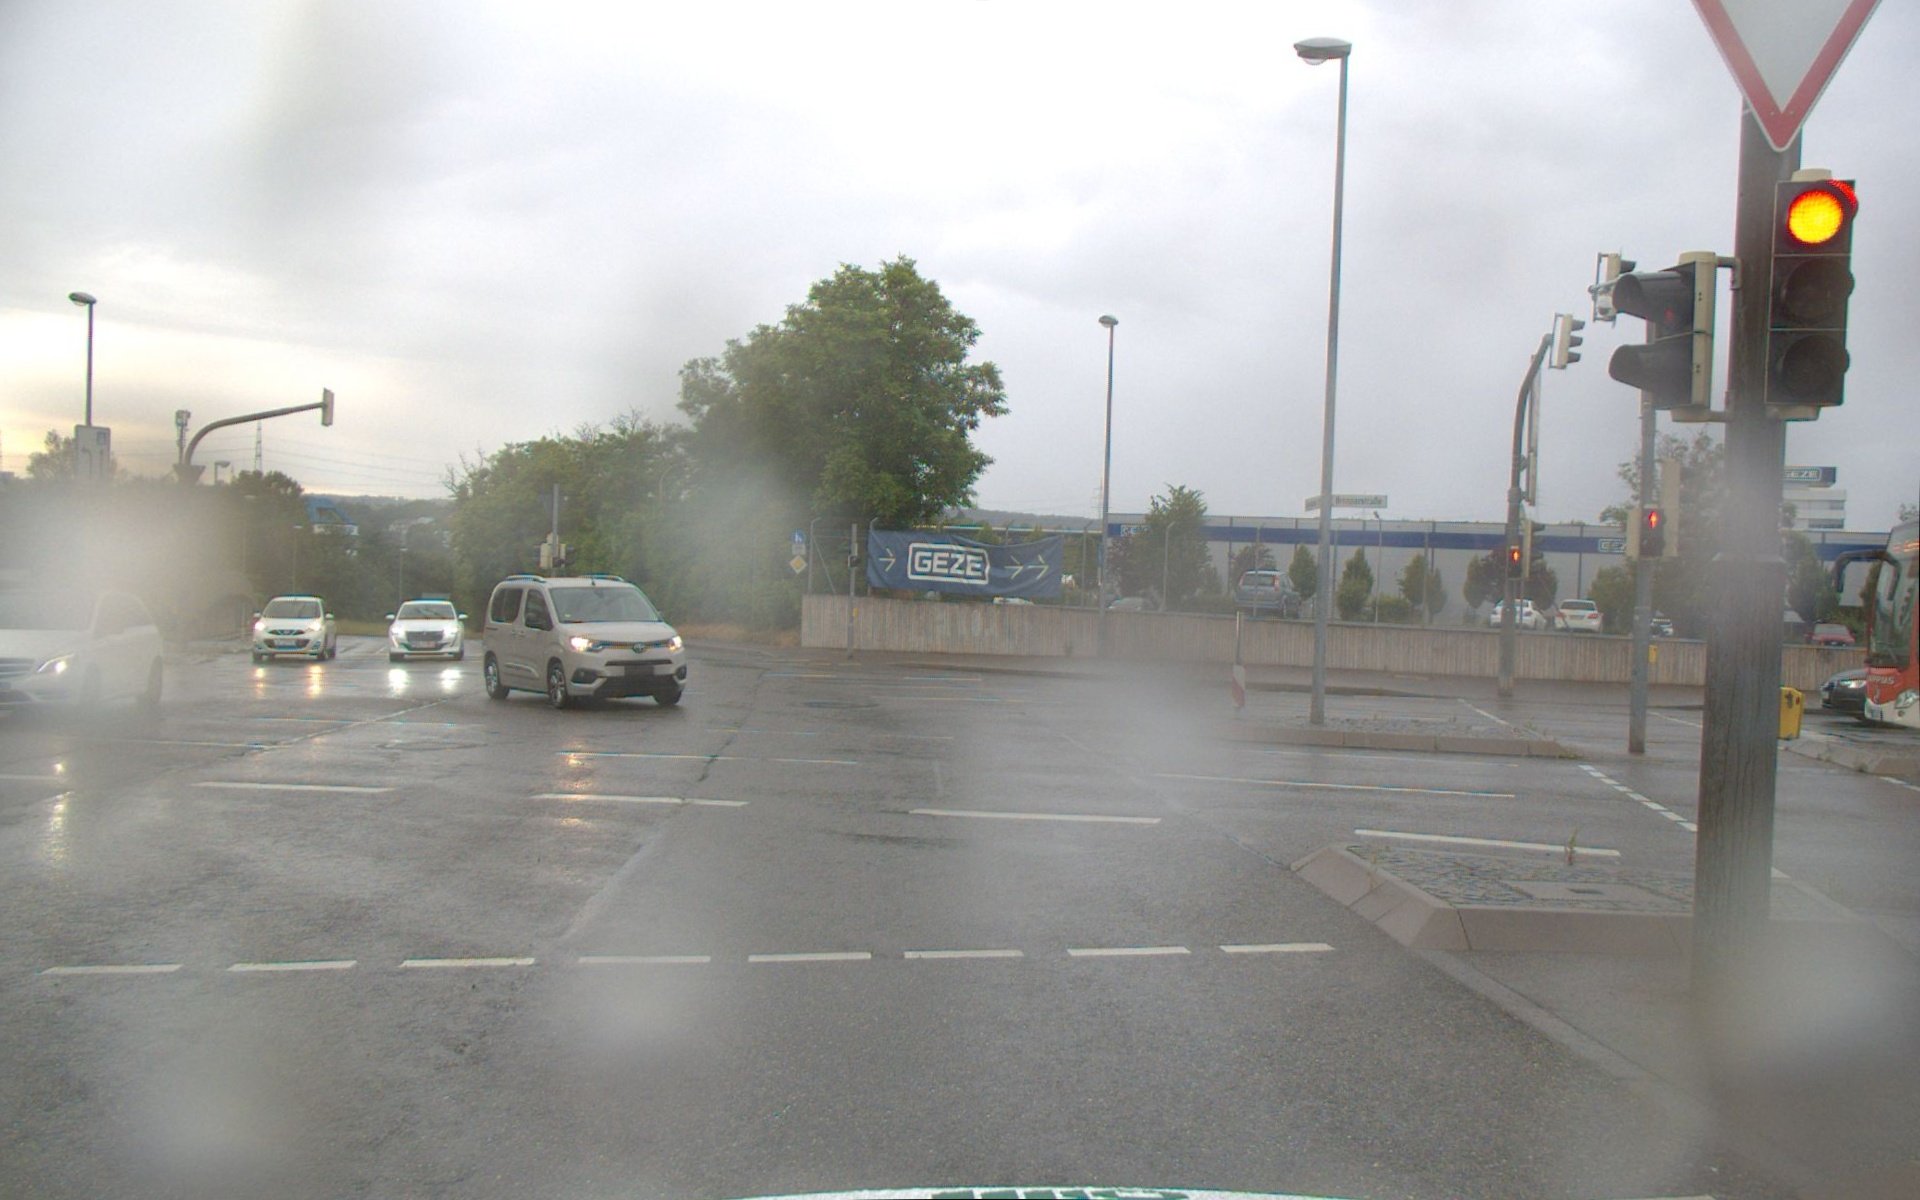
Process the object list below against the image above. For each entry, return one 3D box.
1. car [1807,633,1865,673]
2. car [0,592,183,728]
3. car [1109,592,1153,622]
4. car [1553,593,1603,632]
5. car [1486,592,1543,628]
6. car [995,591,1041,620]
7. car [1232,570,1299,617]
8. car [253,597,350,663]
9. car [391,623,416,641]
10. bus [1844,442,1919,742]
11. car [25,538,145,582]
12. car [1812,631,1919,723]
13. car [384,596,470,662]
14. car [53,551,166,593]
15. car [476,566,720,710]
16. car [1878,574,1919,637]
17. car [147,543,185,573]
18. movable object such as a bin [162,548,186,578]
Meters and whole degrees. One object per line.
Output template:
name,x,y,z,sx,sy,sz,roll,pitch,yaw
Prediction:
car,39.253,2.352,74.166,1.883,1.616,3.788,2,0,22
car,-11.355,0.692,20.872,1.634,1.531,4.313,-1,0,-9
car,9.601,0.402,92.724,1.632,1.634,3.531,1,0,20
car,25.461,0.510,68.086,1.820,1.552,4.103,1,0,22
car,23.046,0.424,68.681,1.781,1.459,4.100,1,0,25
car,3.365,0.308,95.932,1.632,1.634,3.531,1,0,20
car,10.659,-0.210,57.585,1.707,1.580,3.531,1,0,20
car,-16.297,0.705,41.094,1.592,1.531,3.811,0,1,-12
car,-51.006,2.935,151.748,1.632,1.521,3.989,1,-1,-11
bus,17.686,0.219,19.827,11.995,3.638,2.988,3,0,17
car,-35.838,-1.621,67.815,3.902,1.614,1.903,1,-2,8
car,16.315,1.267,26.665,4.286,1.378,1.827,2,0,16
car,-13.169,0.698,41.024,1.835,1.534,3.964,1,0,-16
car,-36.362,-1.183,70.728,3.902,1.614,1.903,1,-2,12
car,-5.342,0.500,23.962,1.976,1.876,4.431,1,0,-34
car,32.352,0.211,55.928,1.707,2.049,3.824,1,0,20
car,-45.014,-2.345,93.772,1.806,1.467,3.964,3,-2,-27
movable object such as a bin,-40.949,-1.907,86.155,1.071,1.462,1.434,3,-2,-27
